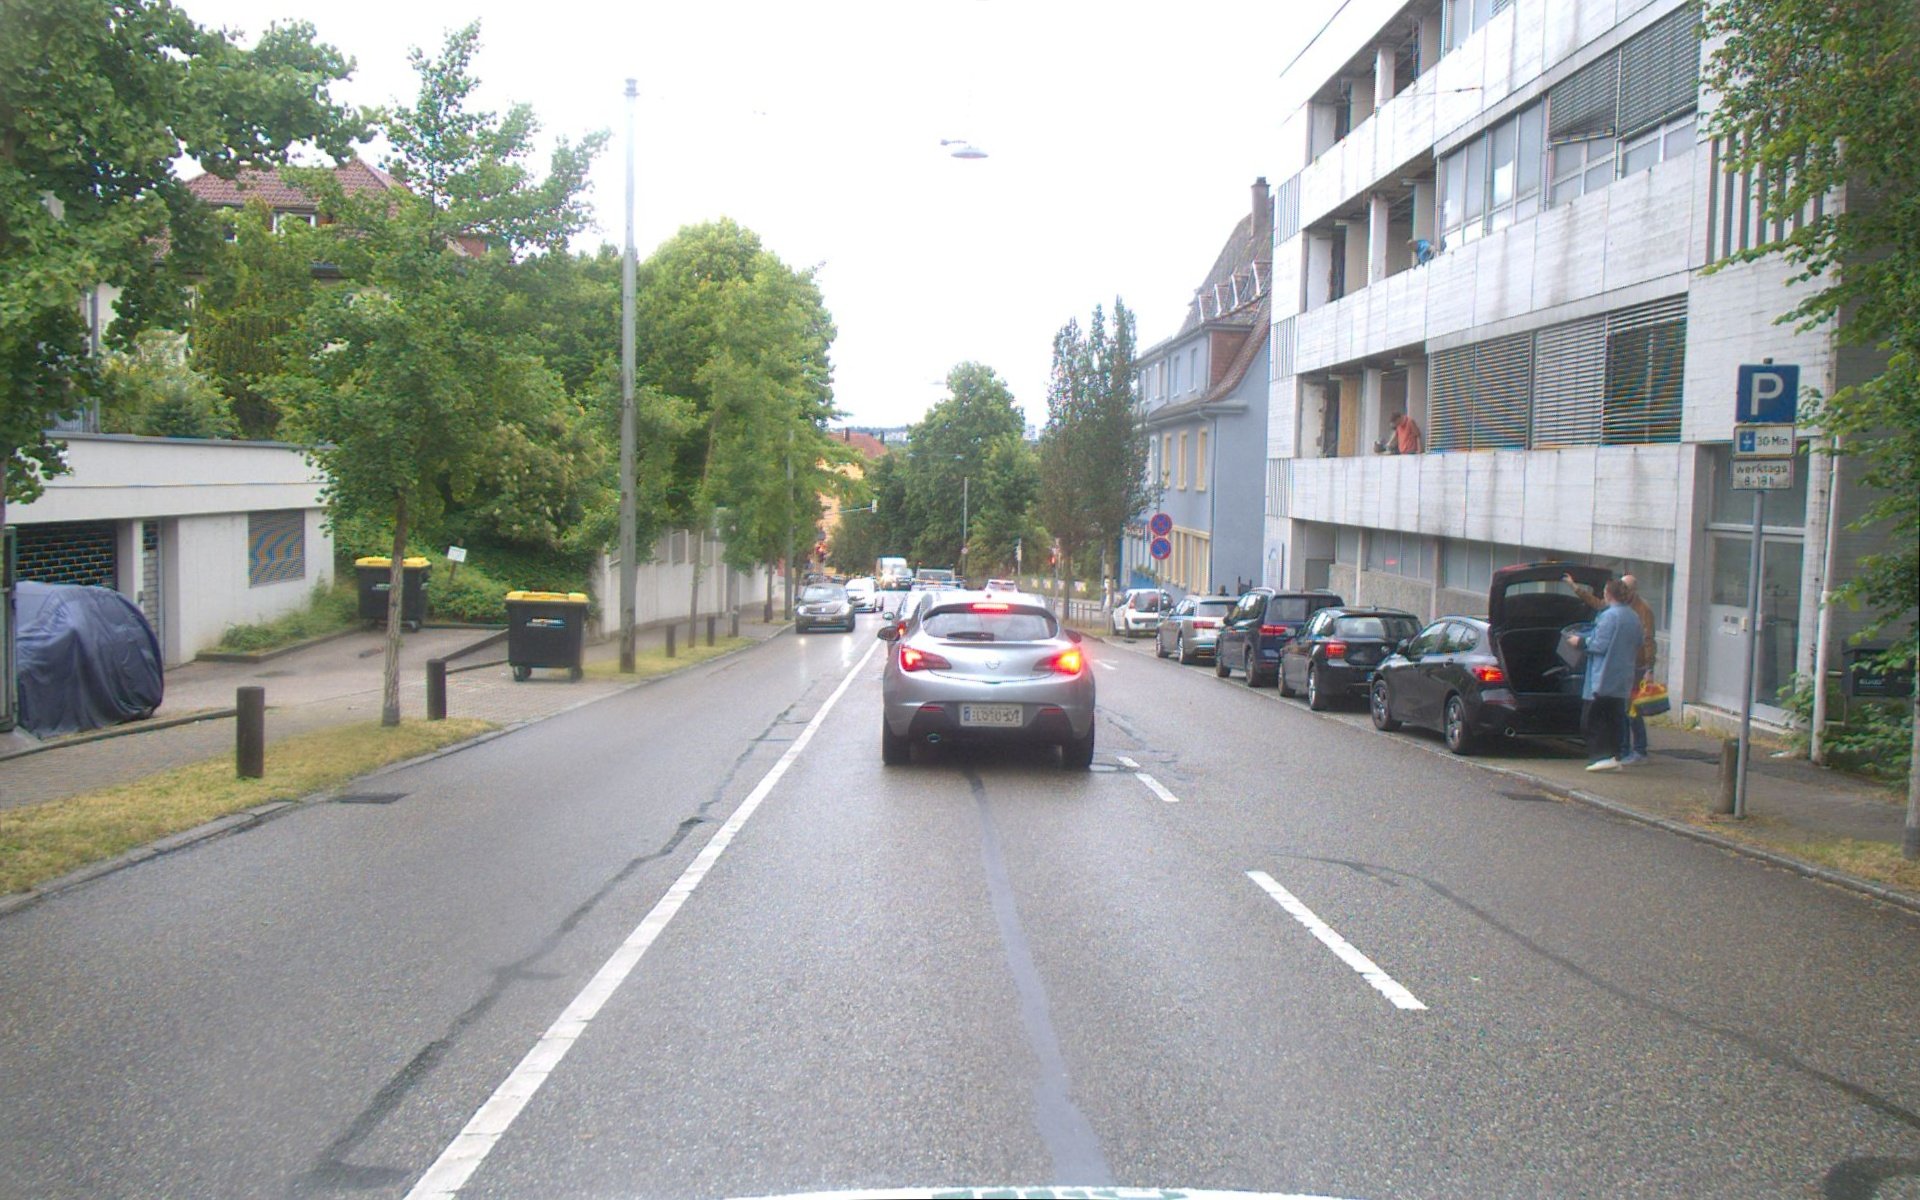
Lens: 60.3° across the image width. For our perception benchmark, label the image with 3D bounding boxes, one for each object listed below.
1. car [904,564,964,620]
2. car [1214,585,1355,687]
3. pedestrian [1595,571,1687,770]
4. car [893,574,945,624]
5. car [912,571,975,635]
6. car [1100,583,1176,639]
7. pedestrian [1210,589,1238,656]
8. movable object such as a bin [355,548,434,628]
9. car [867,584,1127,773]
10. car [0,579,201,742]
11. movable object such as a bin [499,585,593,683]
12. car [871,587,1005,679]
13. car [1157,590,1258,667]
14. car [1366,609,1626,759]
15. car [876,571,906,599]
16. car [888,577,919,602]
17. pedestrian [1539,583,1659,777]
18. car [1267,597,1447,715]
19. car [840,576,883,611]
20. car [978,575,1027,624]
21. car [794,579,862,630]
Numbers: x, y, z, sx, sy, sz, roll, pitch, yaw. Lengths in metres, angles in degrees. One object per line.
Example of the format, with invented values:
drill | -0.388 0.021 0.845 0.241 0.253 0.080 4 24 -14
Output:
car | -1.109 -0.390 69.610 2.287 2.071 4.734 4 1 -1
car | 5.611 0.567 29.062 1.651 1.598 4.000 0 1 0
pedestrian | 6.662 0.664 16.166 0.653 1.868 0.685 0 2 39
car | -1.548 -0.059 61.371 1.720 1.679 3.998 4 0 -3
car | -0.561 0.065 53.392 1.734 1.811 3.975 4 1 -3
car | 5.479 0.301 51.340 1.867 1.598 4.000 0 1 0
pedestrian | 7.260 0.622 45.571 0.632 1.815 0.542 2 1 -1
movable object such as a bin | -10.411 -0.221 30.458 1.247 1.411 0.488 3 1 -4
car | 0.199 0.617 15.178 1.907 1.457 3.880 2 0 -6
car | -9.526 0.563 17.115 1.707 1.482 3.881 -2 1 -4
movable object such as a bin | -6.252 0.512 25.009 1.247 1.411 0.488 3 1 -4
car | -0.439 0.503 27.334 1.763 1.346 3.994 2 0 -7
car | 5.412 0.575 36.637 1.552 1.519 4.290 0 1 0
car | 5.885 0.857 18.624 1.473 1.460 3.998 0 0 -3
car | -5.134 -1.128 123.167 1.953 1.815 4.000 4 1 -1
car | -3.924 -0.747 115.882 1.953 1.562 4.308 4 1 -1
pedestrian | 6.015 0.726 15.591 0.752 1.753 0.732 -1 1 -22
car | 5.737 0.757 24.354 1.647 1.489 4.000 0 1 0
car | -4.569 -0.322 77.044 1.785 1.504 3.863 -2 1 -1
car | 1.988 -0.059 78.370 1.953 2.071 4.734 4 1 -1
car | -4.152 0.118 52.450 1.812 1.495 4.087 -2 0 -1
